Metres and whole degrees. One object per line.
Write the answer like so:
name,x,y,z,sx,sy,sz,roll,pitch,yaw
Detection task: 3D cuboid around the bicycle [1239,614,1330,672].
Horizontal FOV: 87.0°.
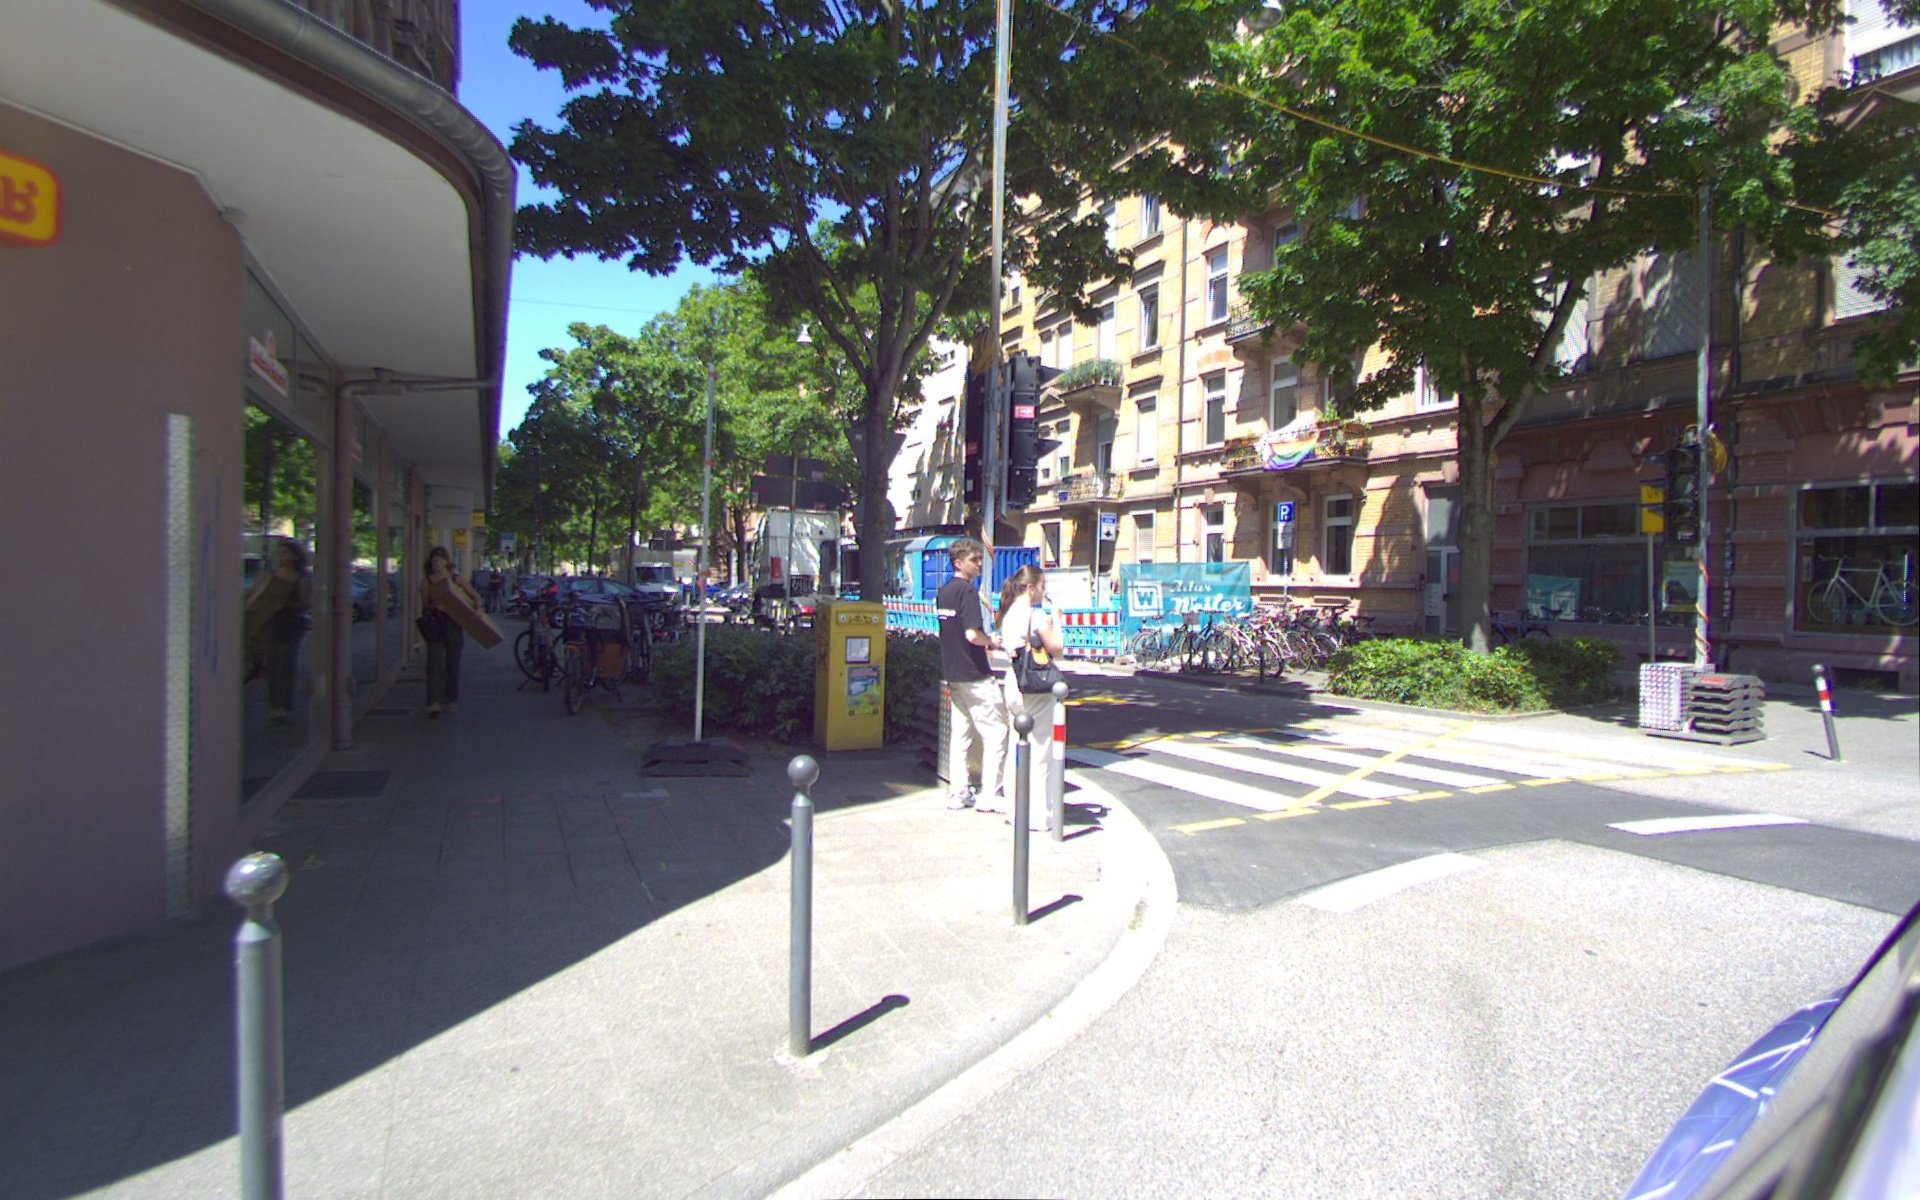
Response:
bicycle,5.629,0.726,17.642,0.498,0.883,1.749,0,1,-22

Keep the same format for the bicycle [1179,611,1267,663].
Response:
bicycle,5.032,0.686,19.482,0.498,0.883,2.079,0,1,-22

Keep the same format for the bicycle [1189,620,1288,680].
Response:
bicycle,4.772,0.830,17.504,0.498,0.883,2.079,0,1,-22

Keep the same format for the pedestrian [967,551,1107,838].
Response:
pedestrian,0.466,0.545,6.283,0.414,1.666,0.704,4,0,-33

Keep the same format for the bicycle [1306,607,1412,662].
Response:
bicycle,7.207,0.601,18.395,0.498,0.883,2.079,0,1,-22

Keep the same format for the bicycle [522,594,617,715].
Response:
bicycle,-4.134,0.527,10.846,0.506,1.146,1.990,1,1,-8

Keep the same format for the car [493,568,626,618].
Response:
car,-12.779,-0.221,32.306,3.775,1.457,1.796,1,1,-28

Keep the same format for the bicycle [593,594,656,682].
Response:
bicycle,-4.632,0.489,13.920,0.461,1.094,1.768,2,0,-29

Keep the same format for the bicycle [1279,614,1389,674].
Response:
bicycle,6.353,0.730,17.333,0.498,0.883,2.079,0,1,-22

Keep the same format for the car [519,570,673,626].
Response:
car,-10.086,-0.057,28.063,3.775,1.457,1.796,1,1,-28

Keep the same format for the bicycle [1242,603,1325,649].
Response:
bicycle,6.974,0.534,21.926,0.498,0.883,2.079,0,1,-22

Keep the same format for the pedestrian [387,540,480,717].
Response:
pedestrian,-5.199,0.254,10.024,0.771,1.654,0.860,0,1,-26

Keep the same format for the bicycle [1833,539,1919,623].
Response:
bicycle,13.402,-0.271,14.383,0.499,1.166,1.429,0,1,-23

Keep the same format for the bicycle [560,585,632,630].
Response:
bicycle,-9.070,0.170,25.208,1.919,1.059,0.539,1,1,28

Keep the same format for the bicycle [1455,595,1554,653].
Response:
bicycle,10.408,0.438,19.401,0.511,1.020,1.700,0,1,-25

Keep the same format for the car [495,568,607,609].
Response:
car,-15.654,-0.428,38.747,3.775,1.457,1.796,1,1,-28

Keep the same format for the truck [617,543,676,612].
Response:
truck,-13.840,-0.982,44.500,1.958,2.892,4.277,0,1,-24

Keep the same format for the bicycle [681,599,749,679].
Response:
bicycle,-3.468,0.523,14.234,0.461,1.018,1.691,2,0,-29

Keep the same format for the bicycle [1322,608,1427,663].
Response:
bicycle,7.656,0.632,18.797,0.498,0.883,2.079,0,1,-22

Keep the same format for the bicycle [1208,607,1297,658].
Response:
bicycle,5.696,0.604,19.828,0.498,0.883,2.079,0,1,-22

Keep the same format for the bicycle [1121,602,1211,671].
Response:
bicycle,3.661,0.628,18.133,0.499,1.120,1.786,-2,2,-31

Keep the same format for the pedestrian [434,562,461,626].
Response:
pedestrian,-13.201,-0.156,26.062,0.547,1.634,0.493,1,1,-21

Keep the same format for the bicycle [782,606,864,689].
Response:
bicycle,-1.910,0.625,13.890,0.461,1.009,1.768,2,0,-29

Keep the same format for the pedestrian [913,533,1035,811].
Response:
pedestrian,0.090,0.462,6.872,0.462,1.791,0.577,4,0,-34

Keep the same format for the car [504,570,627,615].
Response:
car,-13.691,-0.271,35.136,3.775,1.457,1.796,1,1,-28

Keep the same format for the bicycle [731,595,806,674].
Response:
bicycle,-2.728,0.456,14.281,0.461,1.009,1.768,2,0,-29

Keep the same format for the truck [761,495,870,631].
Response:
truck,-4.676,-1.137,32.180,2.241,4.004,4.486,0,1,-24

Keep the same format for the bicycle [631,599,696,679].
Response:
bicycle,-4.196,0.522,14.243,0.461,1.009,1.768,2,0,-29

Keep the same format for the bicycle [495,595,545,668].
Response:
bicycle,-6.751,0.455,15.490,0.494,1.009,1.731,2,0,-29
